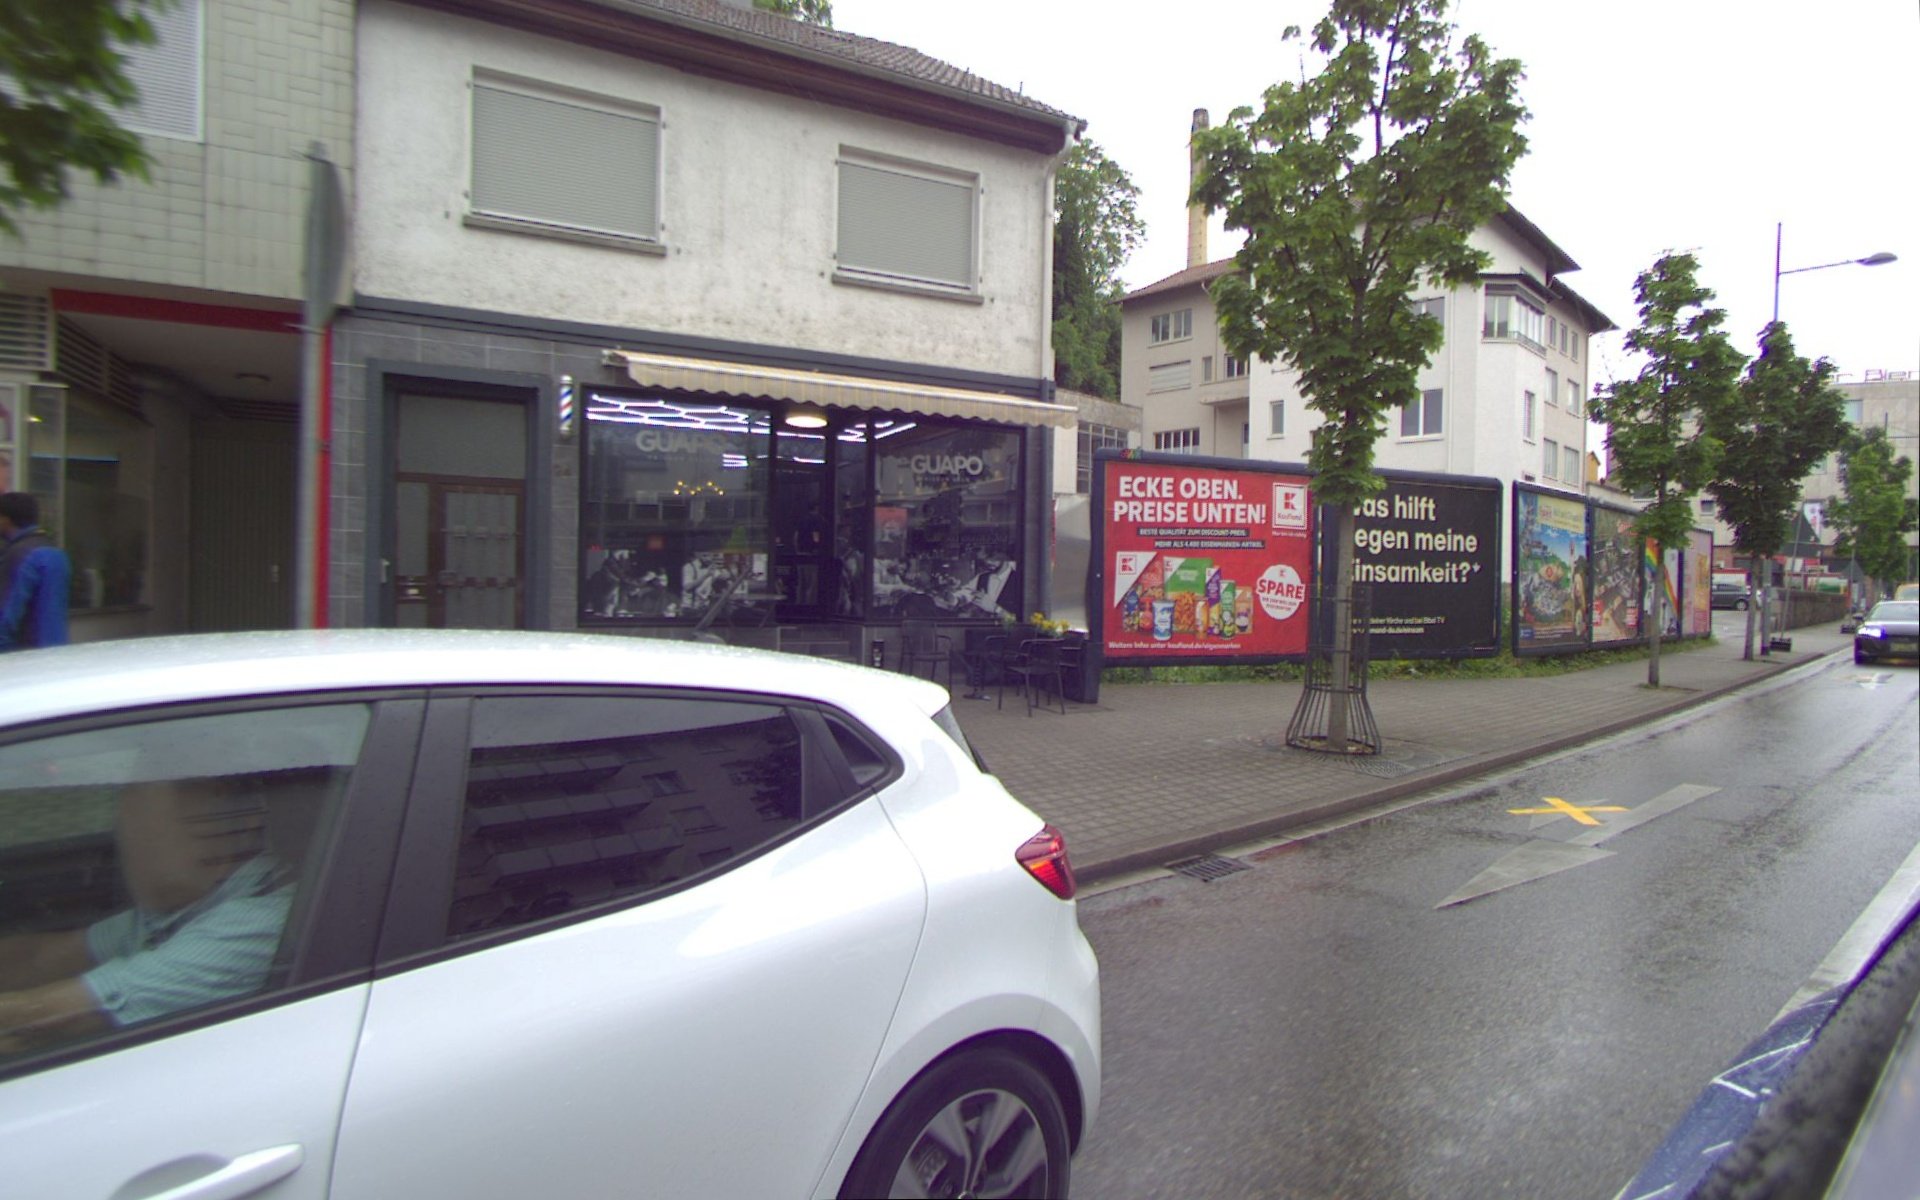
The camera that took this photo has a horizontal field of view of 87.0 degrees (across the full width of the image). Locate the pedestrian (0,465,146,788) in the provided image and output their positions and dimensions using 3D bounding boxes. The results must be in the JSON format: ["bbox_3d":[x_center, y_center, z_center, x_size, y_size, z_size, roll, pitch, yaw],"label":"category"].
[{"bbox_3d":[-5.699,0.116,6.076,0.887,1.813,0.973,1,4,-12],"label":"pedestrian"}]

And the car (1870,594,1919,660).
[{"bbox_3d":[22.118,0.577,23.136,1.808,1.356,4.210,2,2,44],"label":"car"}]

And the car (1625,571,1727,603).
[{"bbox_3d":[40.136,-0.706,56.819,4.170,1.595,1.943,2,0,6],"label":"car"}]

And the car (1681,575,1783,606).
[{"bbox_3d":[44.816,-0.555,58.837,4.178,1.595,1.939,2,0,11],"label":"car"}]

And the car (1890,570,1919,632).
[{"bbox_3d":[34.912,-0.021,35.966,5.832,2.112,2.196,-2,2,-42],"label":"car"}]

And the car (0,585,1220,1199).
[{"bbox_3d":[-1.527,0.727,1.581,3.927,1.420,1.681,0,3,-38],"label":"car"}]
